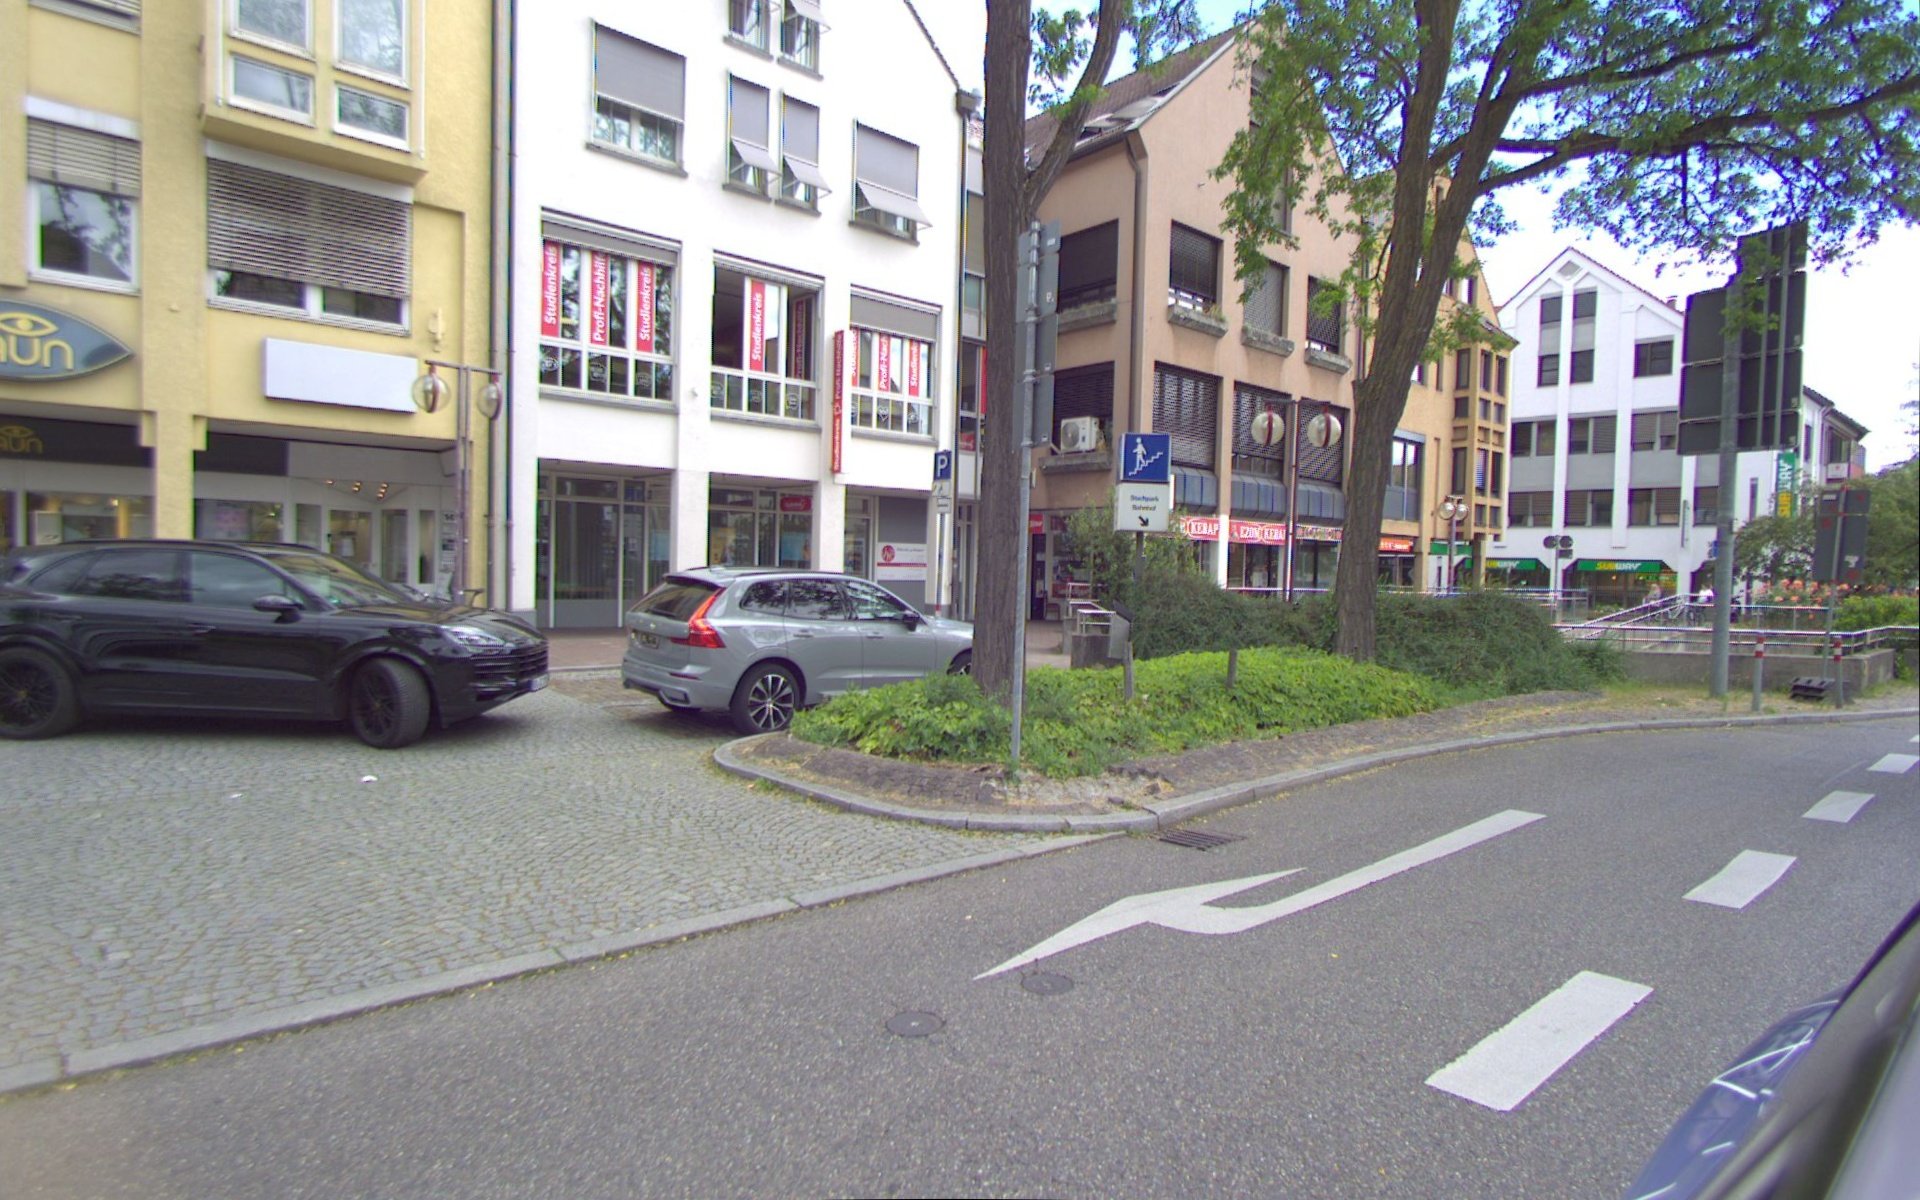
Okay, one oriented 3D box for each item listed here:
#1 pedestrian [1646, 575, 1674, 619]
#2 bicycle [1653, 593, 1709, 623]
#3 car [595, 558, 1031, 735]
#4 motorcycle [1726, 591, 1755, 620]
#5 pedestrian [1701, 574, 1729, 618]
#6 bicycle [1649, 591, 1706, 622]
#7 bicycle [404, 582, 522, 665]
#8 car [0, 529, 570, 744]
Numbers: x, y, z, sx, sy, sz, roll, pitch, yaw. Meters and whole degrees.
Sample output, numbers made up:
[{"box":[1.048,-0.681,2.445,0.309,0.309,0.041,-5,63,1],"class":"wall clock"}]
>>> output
[{"box":[29.562,-0.139,42.743,0.882,1.779,0.931,2,2,38],"class":"pedestrian"},{"box":[25.684,0.270,36.088,1.584,0.981,0.455,3,2,36],"class":"bicycle"},{"box":[-1.508,0.391,11.681,4.684,1.615,1.996,0,2,-44],"class":"car"},{"box":[30.209,0.193,39.159,1.961,1.081,0.464,0,2,-41],"class":"motorcycle"},{"box":[31.702,-0.166,42.497,0.772,1.846,0.869,0,0,-44],"class":"pedestrian"},{"box":[25.156,0.203,35.506,1.584,1.014,0.409,3,2,37],"class":"bicycle"},{"box":[-6.678,0.304,13.633,1.354,1.057,0.393,0,2,-41],"class":"bicycle"},{"box":[-6.213,0.288,9.333,4.567,1.690,1.863,2,2,-9],"class":"car"}]
